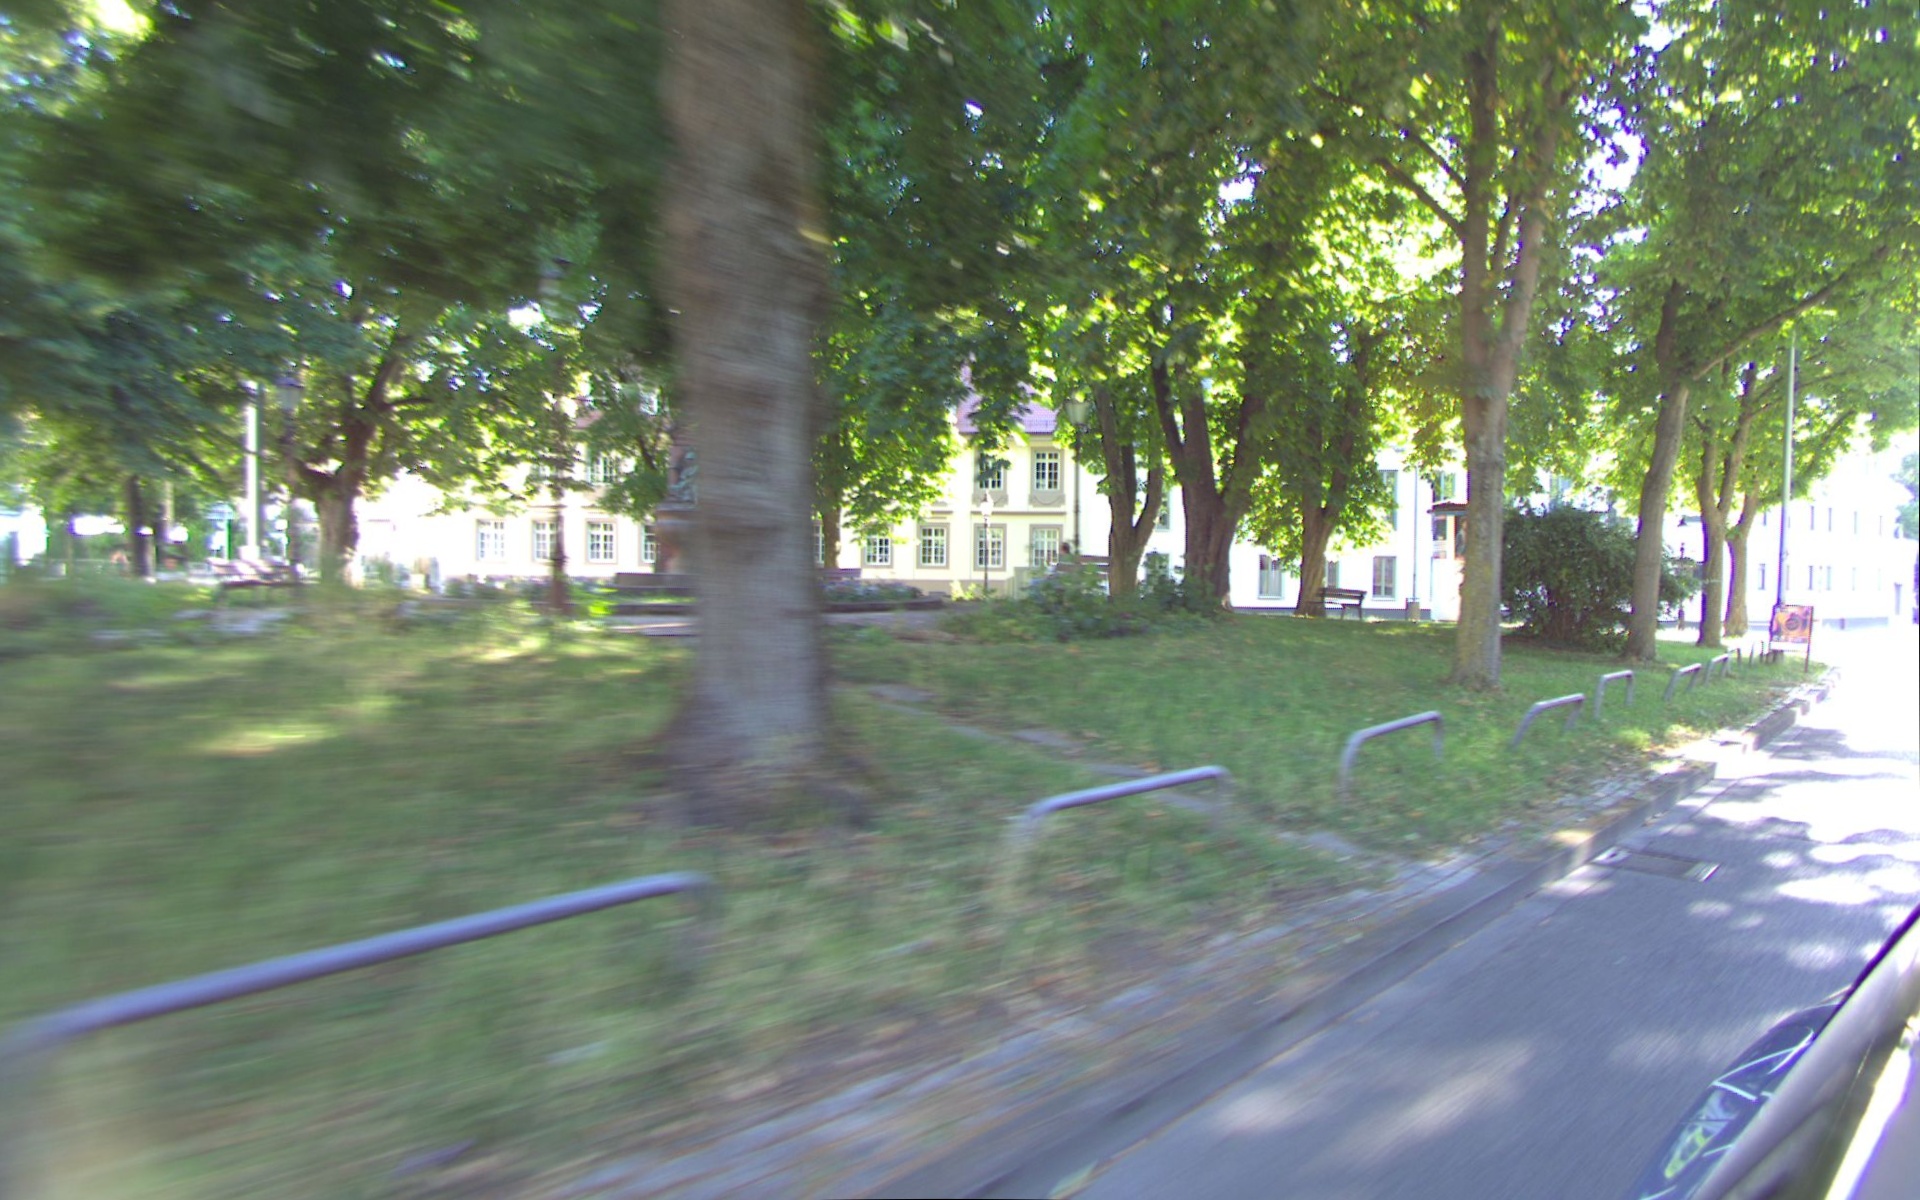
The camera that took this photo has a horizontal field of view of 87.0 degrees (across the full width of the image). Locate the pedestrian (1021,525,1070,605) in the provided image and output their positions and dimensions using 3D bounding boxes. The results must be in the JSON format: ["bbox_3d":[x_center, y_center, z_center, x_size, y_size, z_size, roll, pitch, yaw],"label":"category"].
[{"bbox_3d":[1.496,-0.606,17.610,0.686,1.334,0.679,3,2,17],"label":"pedestrian"}]

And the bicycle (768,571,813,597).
[{"bbox_3d":[-7.263,-0.697,43.406,1.732,1.045,0.722,2,2,4],"label":"bicycle"}]
